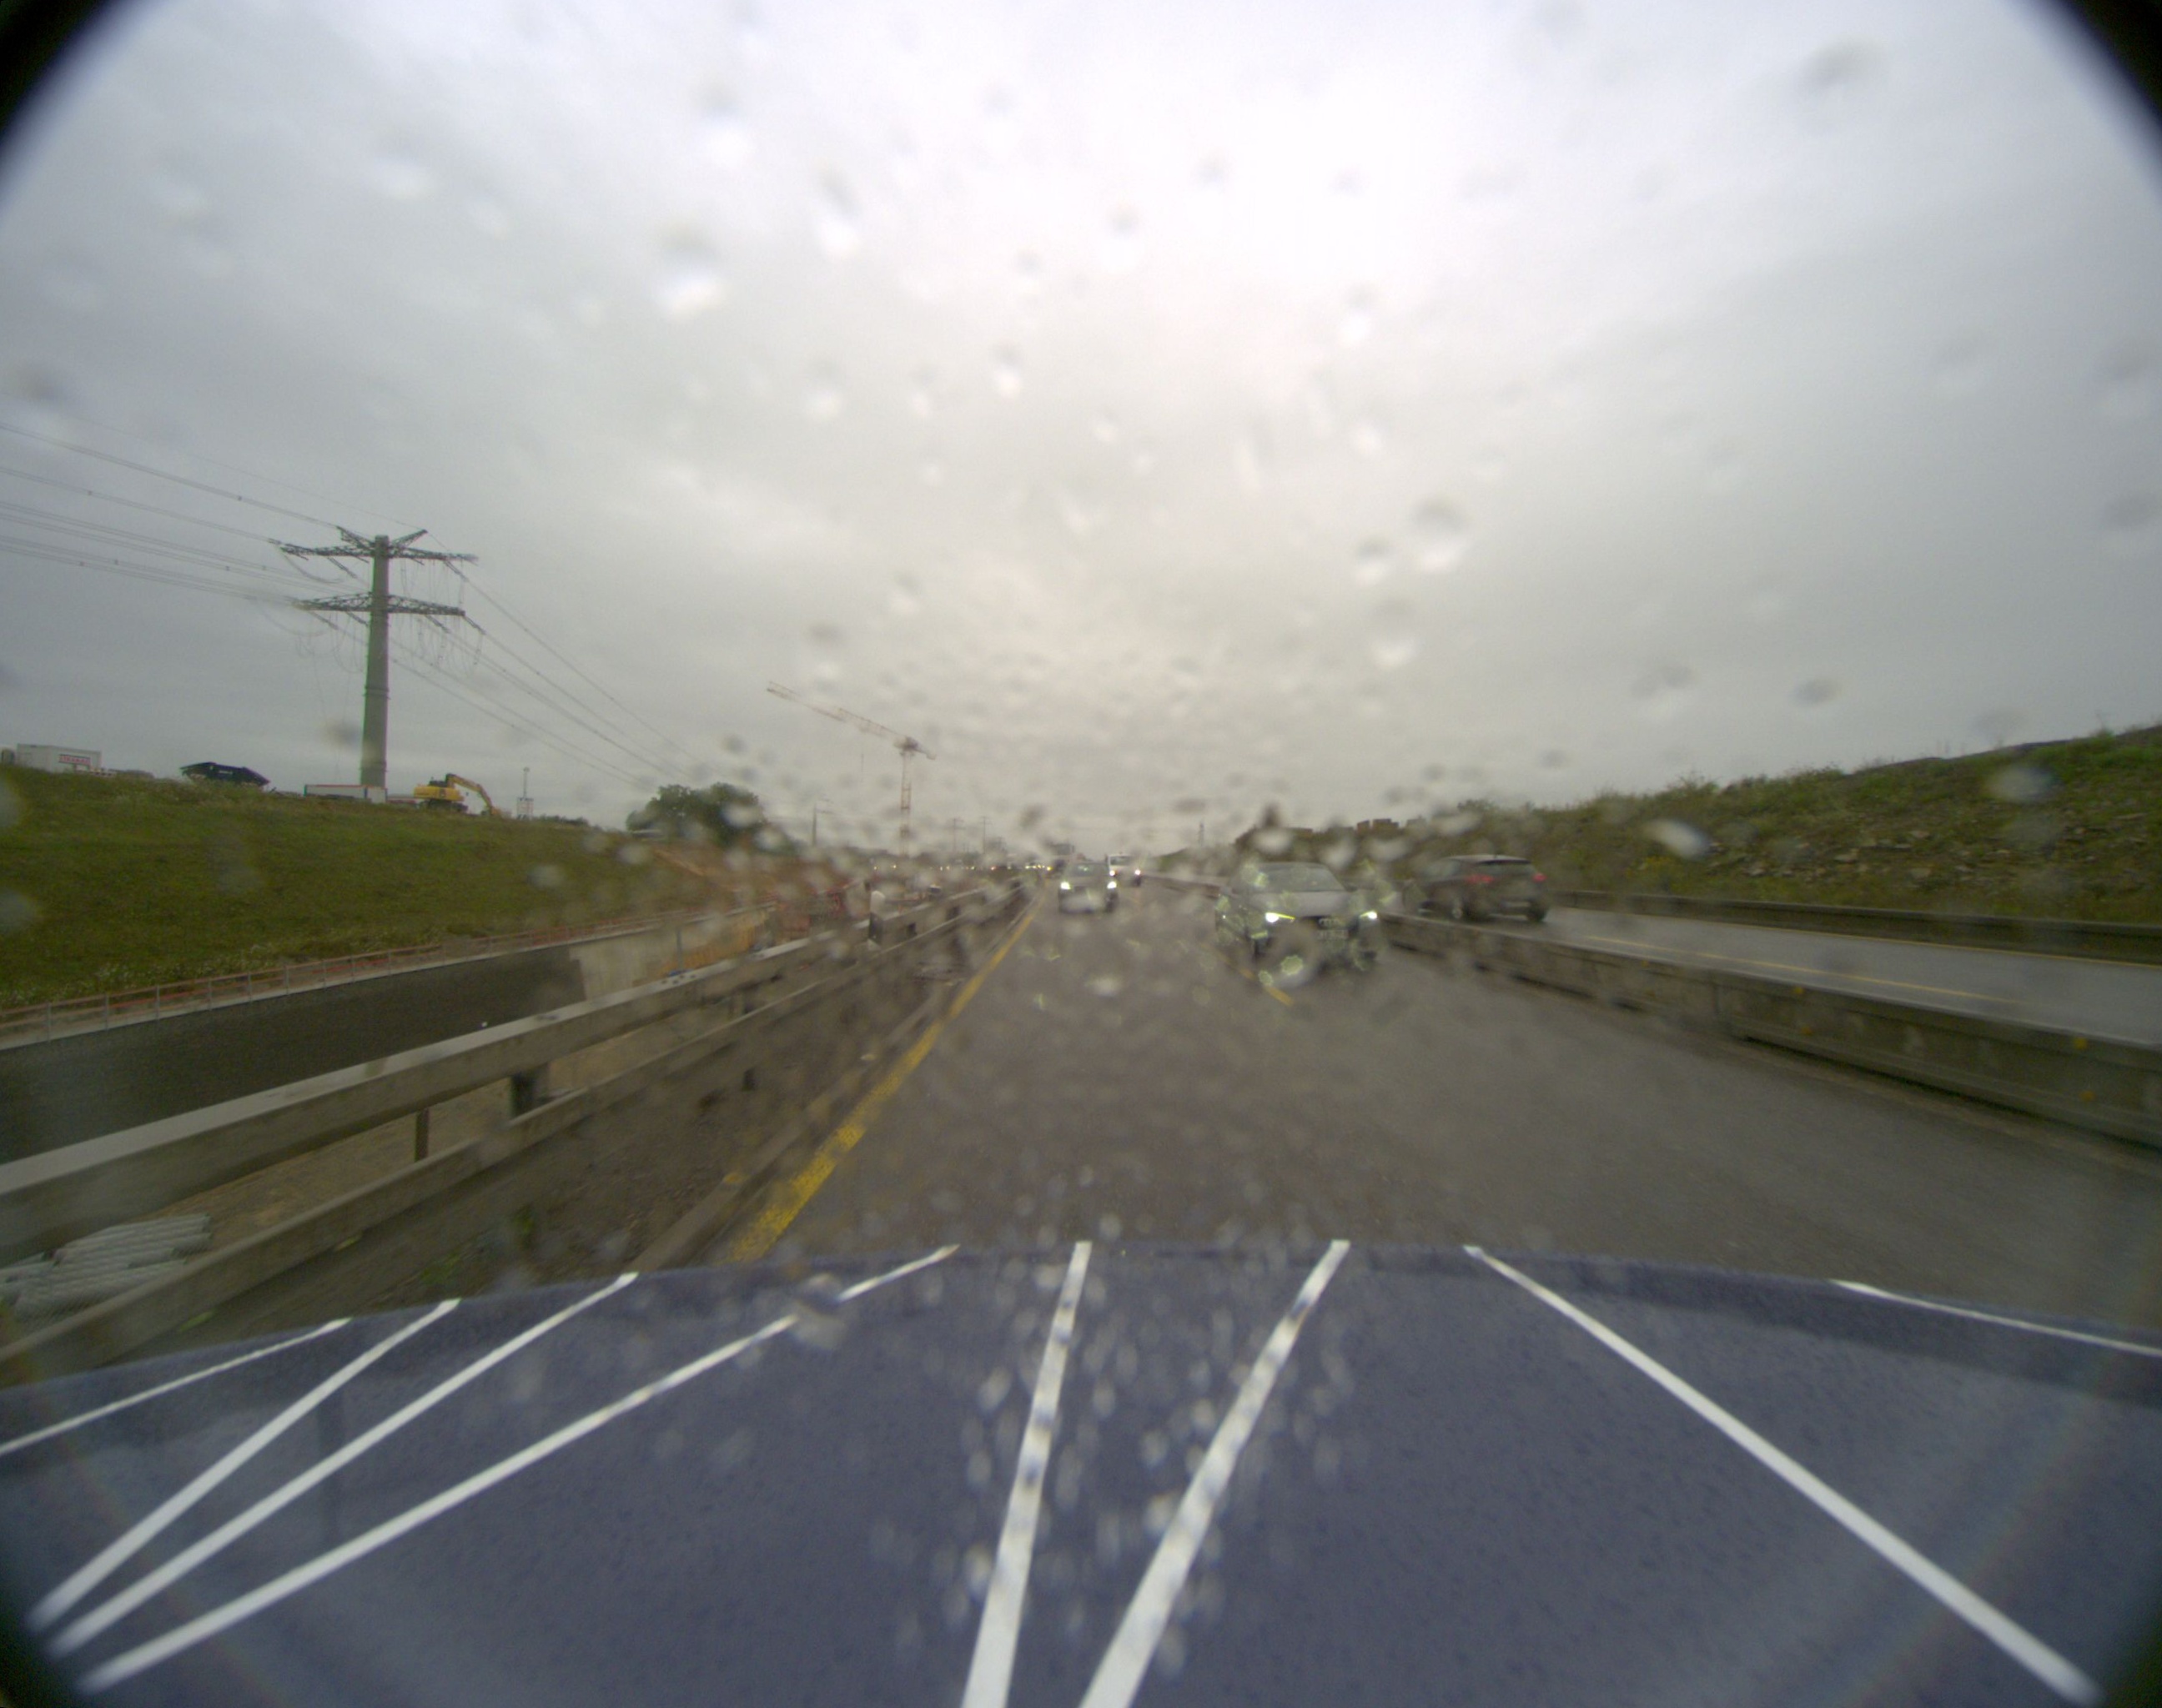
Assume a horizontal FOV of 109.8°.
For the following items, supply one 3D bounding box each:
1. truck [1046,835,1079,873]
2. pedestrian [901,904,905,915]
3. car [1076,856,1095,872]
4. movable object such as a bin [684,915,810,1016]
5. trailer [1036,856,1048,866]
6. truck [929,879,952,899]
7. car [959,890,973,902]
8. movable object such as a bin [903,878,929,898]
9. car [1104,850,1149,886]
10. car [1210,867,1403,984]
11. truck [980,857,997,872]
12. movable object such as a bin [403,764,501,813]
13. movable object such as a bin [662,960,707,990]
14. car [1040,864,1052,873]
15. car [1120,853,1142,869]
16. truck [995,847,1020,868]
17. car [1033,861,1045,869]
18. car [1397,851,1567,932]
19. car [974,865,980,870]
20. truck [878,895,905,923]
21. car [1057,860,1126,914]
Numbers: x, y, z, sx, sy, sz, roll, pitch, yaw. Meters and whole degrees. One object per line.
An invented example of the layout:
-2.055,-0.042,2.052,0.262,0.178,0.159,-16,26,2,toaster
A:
-1.944,-0.029,74.868,2.857,3.462,8.640,-2,0,-3,truck
-31.179,9.704,133.348,0.603,1.894,0.614,0,1,-9,pedestrian
0.470,1.192,90.399,1.790,1.744,3.998,-3,0,-5,car
-26.620,8.665,61.747,4.907,5.639,12.082,-3,3,-2,movable object such as a bin
-10.226,1.859,197.719,2.518,2.549,7.158,-2,0,-7,trailer
-29.248,7.298,158.801,3.361,3.521,8.903,-1,2,-2,truck
-23.621,8.615,156.014,1.999,2.002,3.999,-15,0,-2,car
-32.946,6.816,152.106,3.517,3.405,6.651,-2,1,0,movable object such as a bin
2.589,0.783,44.507,2.070,1.933,5.155,-1,0,-2,car
3.259,0.959,11.858,1.805,1.375,4.087,-1,0,0,car
-26.143,2.898,215.066,3.549,3.870,8.325,-3,0,-15,truck
-62.783,-6.452,76.193,3.107,4.181,8.177,-1,0,-1,movable object such as a bin
-35.293,10.775,67.732,2.524,1.900,3.254,-4,1,-8,movable object such as a bin
-6.327,2.567,137.003,1.791,1.418,3.997,-3,0,-9,car
5.152,0.679,78.519,1.816,1.584,4.901,0,0,-1,car
-16.245,0.842,167.288,4.321,4.319,13.397,-3,0,-9,truck
-8.549,2.206,154.933,1.791,1.646,3.996,-3,0,-11,car
8.847,0.745,17.188,1.718,1.527,4.046,-3,0,1,car
-31.015,3.956,226.412,1.791,1.418,3.997,-3,0,-9,car
-29.446,8.441,118.440,2.711,3.591,9.068,0,1,-5,truck
0.229,0.946,23.855,1.875,1.481,4.260,-2,0,-3,car
